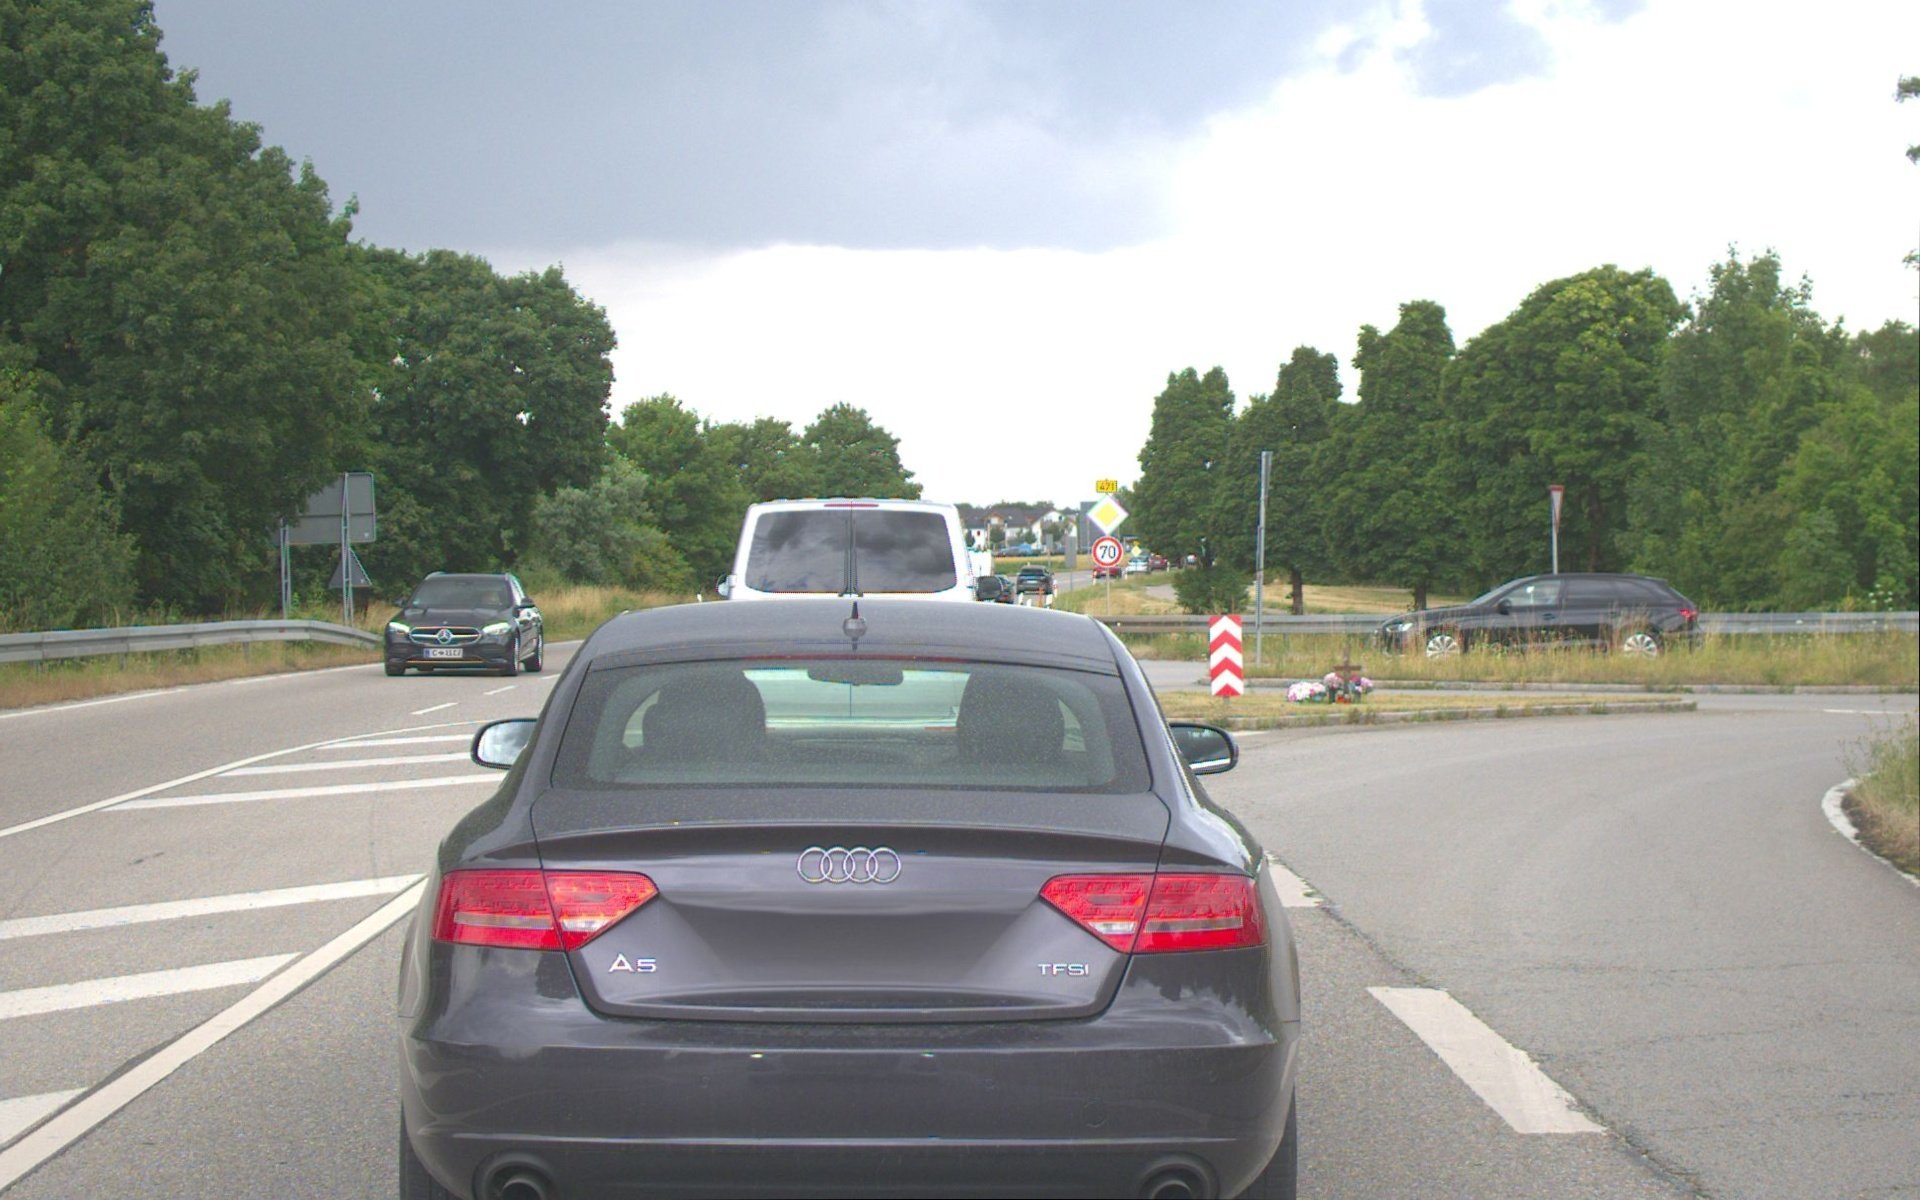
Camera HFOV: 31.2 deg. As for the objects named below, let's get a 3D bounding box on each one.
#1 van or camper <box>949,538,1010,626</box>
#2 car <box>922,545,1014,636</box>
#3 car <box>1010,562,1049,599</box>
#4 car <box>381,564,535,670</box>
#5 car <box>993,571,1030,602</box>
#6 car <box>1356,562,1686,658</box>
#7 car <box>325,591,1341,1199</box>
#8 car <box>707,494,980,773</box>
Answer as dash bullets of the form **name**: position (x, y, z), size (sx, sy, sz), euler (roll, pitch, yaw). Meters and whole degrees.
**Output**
- **van or camper**: position (0.803, -0.722, 137.445), size (2.340, 3.469, 5.718), euler (0, 0, 2)
- **car**: position (0.216, -0.229, 80.441), size (1.994, 2.081, 4.000), euler (0, 0, 2)
- **car**: position (3.888, -1.109, 192.842), size (1.993, 2.007, 4.000), euler (1, 1, -1)
- **car**: position (-7.085, 0.207, 48.851), size (1.671, 1.424, 4.258), euler (0, 1, -1)
- **car**: position (2.480, -0.641, 166.151), size (1.719, 1.446, 4.000), euler (1, 1, 1)
- **car**: position (8.092, 0.131, 49.935), size (4.597, 1.369, 1.826), euler (0, 0, 5)
- **car**: position (-0.249, 0.700, 8.072), size (1.783, 1.372, 4.000), euler (1, 1, -1)
- **car**: position (-0.818, 0.201, 25.408), size (1.838, 1.876, 4.000), euler (1, 1, -1)
